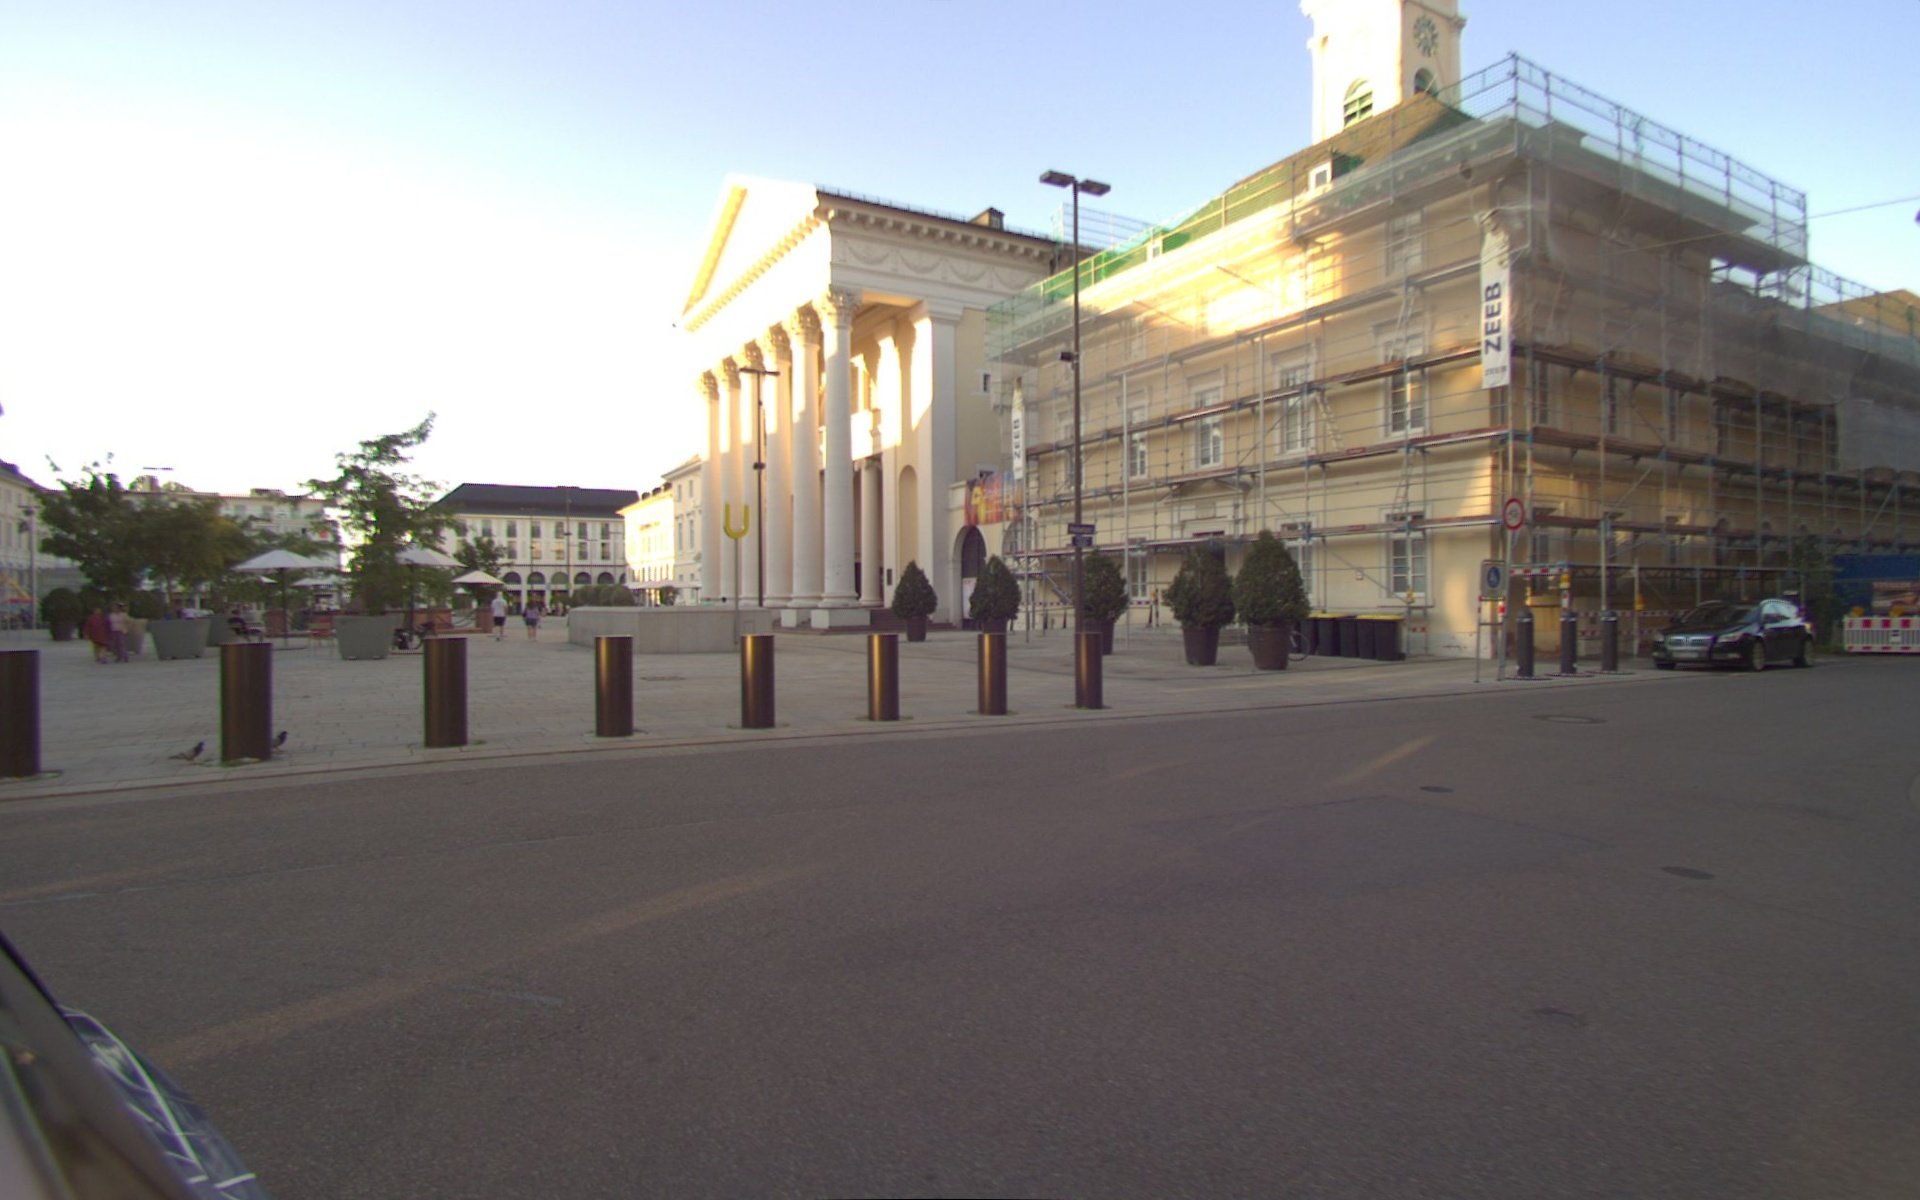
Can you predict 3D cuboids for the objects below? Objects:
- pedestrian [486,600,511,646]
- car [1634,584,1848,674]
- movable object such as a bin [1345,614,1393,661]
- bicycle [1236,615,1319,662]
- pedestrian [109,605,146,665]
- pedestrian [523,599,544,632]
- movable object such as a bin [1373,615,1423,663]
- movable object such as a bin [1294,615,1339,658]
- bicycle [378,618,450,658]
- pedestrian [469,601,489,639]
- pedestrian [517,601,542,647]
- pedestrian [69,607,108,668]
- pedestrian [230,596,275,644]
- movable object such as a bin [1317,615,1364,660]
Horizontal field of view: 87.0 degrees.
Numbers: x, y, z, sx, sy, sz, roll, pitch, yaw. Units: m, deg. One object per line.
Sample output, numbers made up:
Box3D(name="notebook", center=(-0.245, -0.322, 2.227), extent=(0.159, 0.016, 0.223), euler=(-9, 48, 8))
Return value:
Box3D(name="pedestrian", center=(-17.986, 0.875, 39.401), extent=(0.842, 1.743, 0.884), euler=(0, 0, -27))
Box3D(name="car", center=(16.455, 0.552, 21.340), extent=(3.931, 1.749, 2.007), euler=(-1, 0, -26))
Box3D(name="movable object such as a bin", center=(9.934, 0.900, 24.611), extent=(0.798, 1.085, 0.724), euler=(0, 0, -27))
Box3D(name="bicycle", center=(7.826, 0.935, 25.007), extent=(1.852, 1.120, 0.625), euler=(-1, 0, 42))
Box3D(name="pedestrian", center=(-22.196, 0.932, 26.986), extent=(0.672, 1.570, 0.655), euler=(0, -1, -32))
Box3D(name="pedestrian", center=(-24.740, 0.889, 58.691), extent=(1.074, 1.926, 0.884), euler=(0, 0, -27))
Box3D(name="movable object such as a bin", center=(10.320, 0.903, 23.855), extent=(0.798, 1.085, 0.724), euler=(0, 0, -27))
Box3D(name="movable object such as a bin", center=(9.165, 0.926, 26.011), extent=(0.798, 1.085, 0.724), euler=(0, 0, -27))
Box3D(name="bicycle", center=(-16.010, 1.119, 29.699), extent=(1.666, 1.130, 0.843), euler=(-1, 0, 5))
Box3D(name="pedestrian", center=(-22.919, 0.948, 48.188), extent=(0.842, 1.743, 0.884), euler=(0, 0, -27))
Box3D(name="pedestrian", center=(-16.741, 0.935, 39.328), extent=(0.842, 1.743, 0.884), euler=(0, 0, -27))
Box3D(name="pedestrian", center=(-22.909, 0.978, 26.618), extent=(0.672, 1.578, 0.655), euler=(0, -1, -32))
Box3D(name="pedestrian", center=(-34.105, 0.943, 48.793), extent=(1.498, 2.252, 1.240), euler=(-1, 0, 28))
Box3D(name="movable object such as a bin", center=(9.515, 0.932, 25.322), extent=(0.798, 1.085, 0.724), euler=(0, 0, -27))
